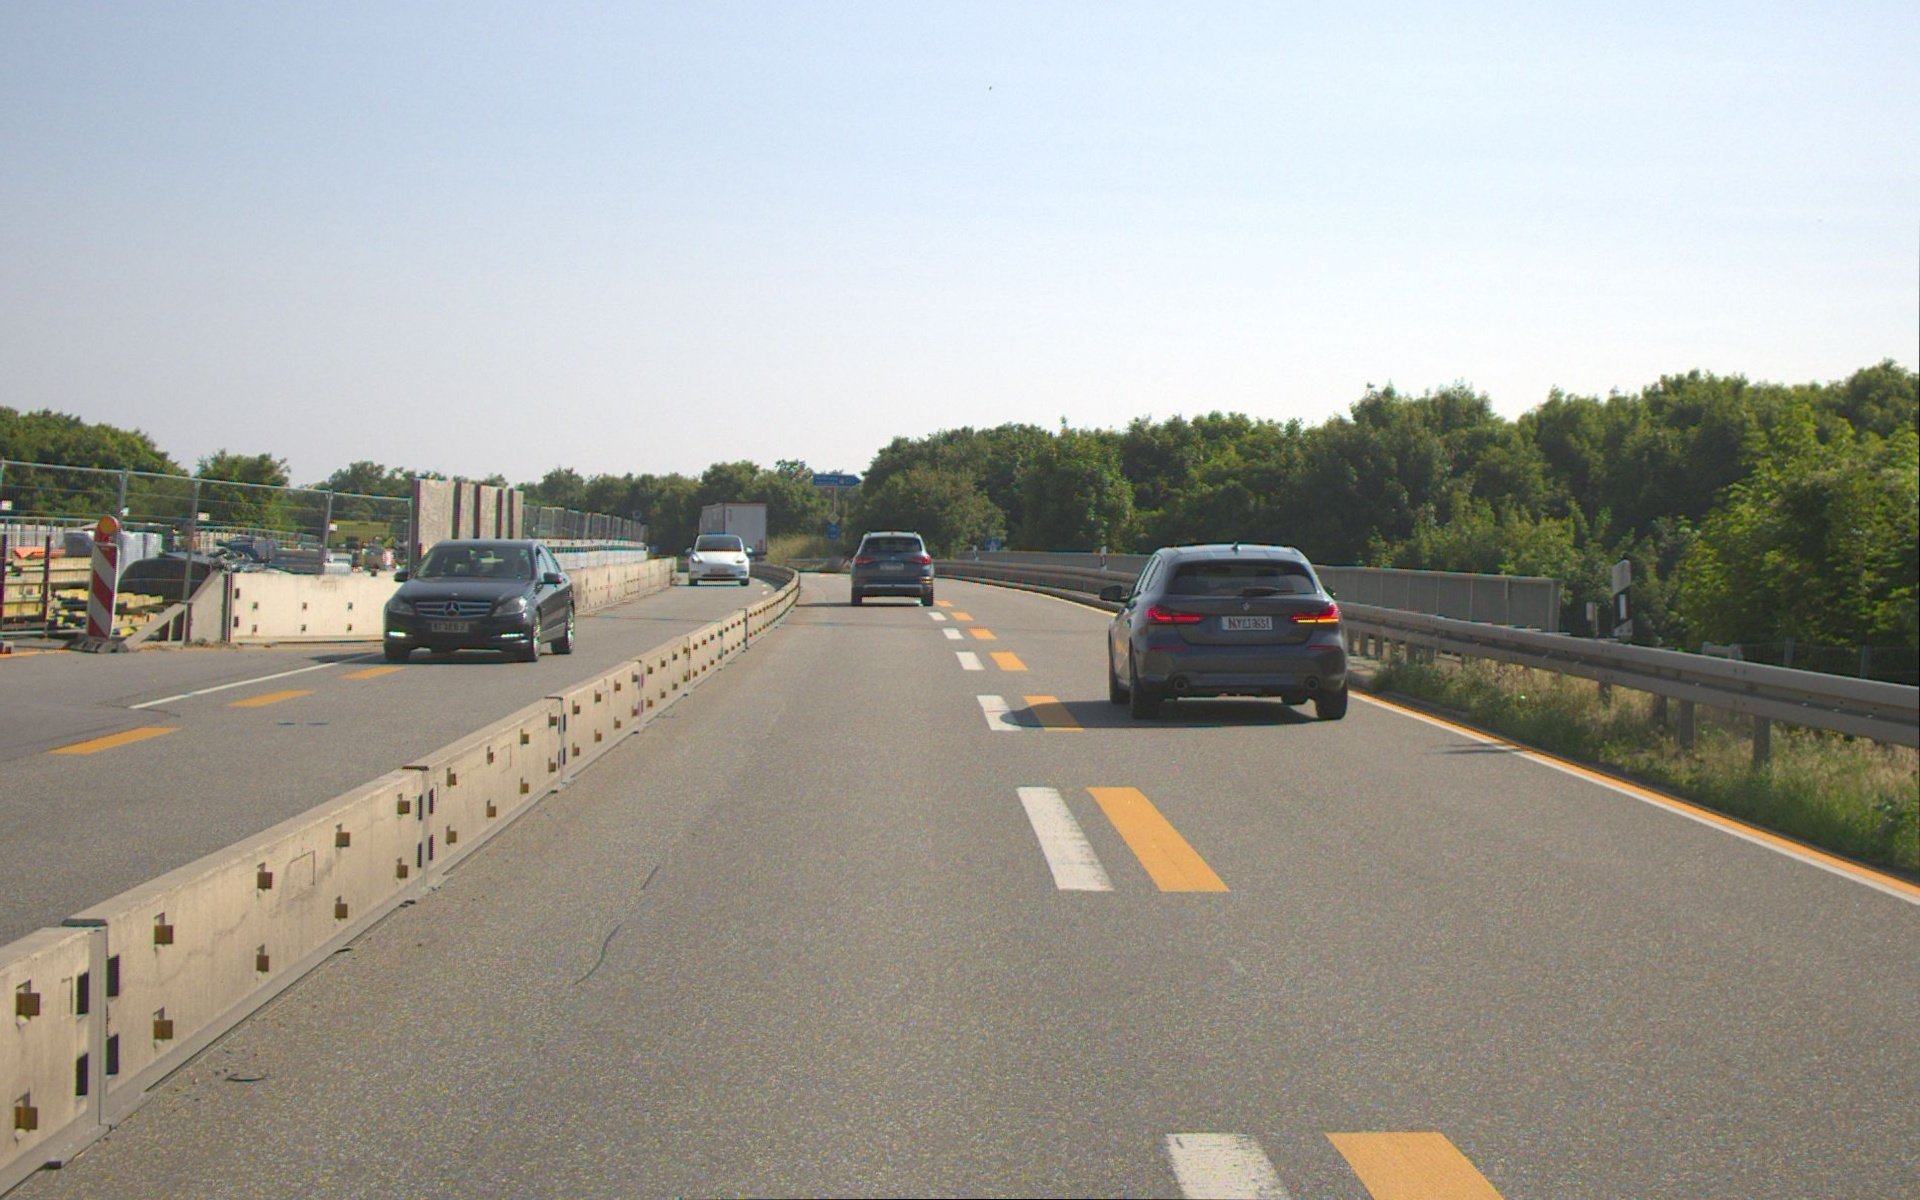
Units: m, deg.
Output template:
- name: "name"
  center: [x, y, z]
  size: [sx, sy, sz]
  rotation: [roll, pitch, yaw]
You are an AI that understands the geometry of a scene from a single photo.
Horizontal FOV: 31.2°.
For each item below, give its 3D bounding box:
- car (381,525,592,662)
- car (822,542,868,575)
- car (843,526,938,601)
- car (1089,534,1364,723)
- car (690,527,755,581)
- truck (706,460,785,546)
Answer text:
- name: "car"
  center: [-5.643, -0.129, 41.510]
  size: [1.859, 1.468, 4.685]
  rotation: [2, 1, 0]
- name: "car"
  center: [-6.121, -2.212, 182.557]
  size: [1.993, 1.682, 4.001]
  rotation: [2, 1, -8]
- name: "car"
  center: [-1.494, -0.820, 75.397]
  size: [1.993, 1.561, 4.000]
  rotation: [1, 1, 0]
- name: "car"
  center: [2.209, 0.191, 29.480]
  size: [1.920, 1.488, 4.001]
  rotation: [0, 1, -2]
- name: "car"
  center: [-7.614, -1.498, 110.703]
  size: [1.981, 1.645, 4.549]
  rotation: [2, 1, -3]
- name: "truck"
  center: [-12.925, -5.790, 205.933]
  size: [3.760, 4.894, 14.140]
  rotation: [2, 1, -7]
